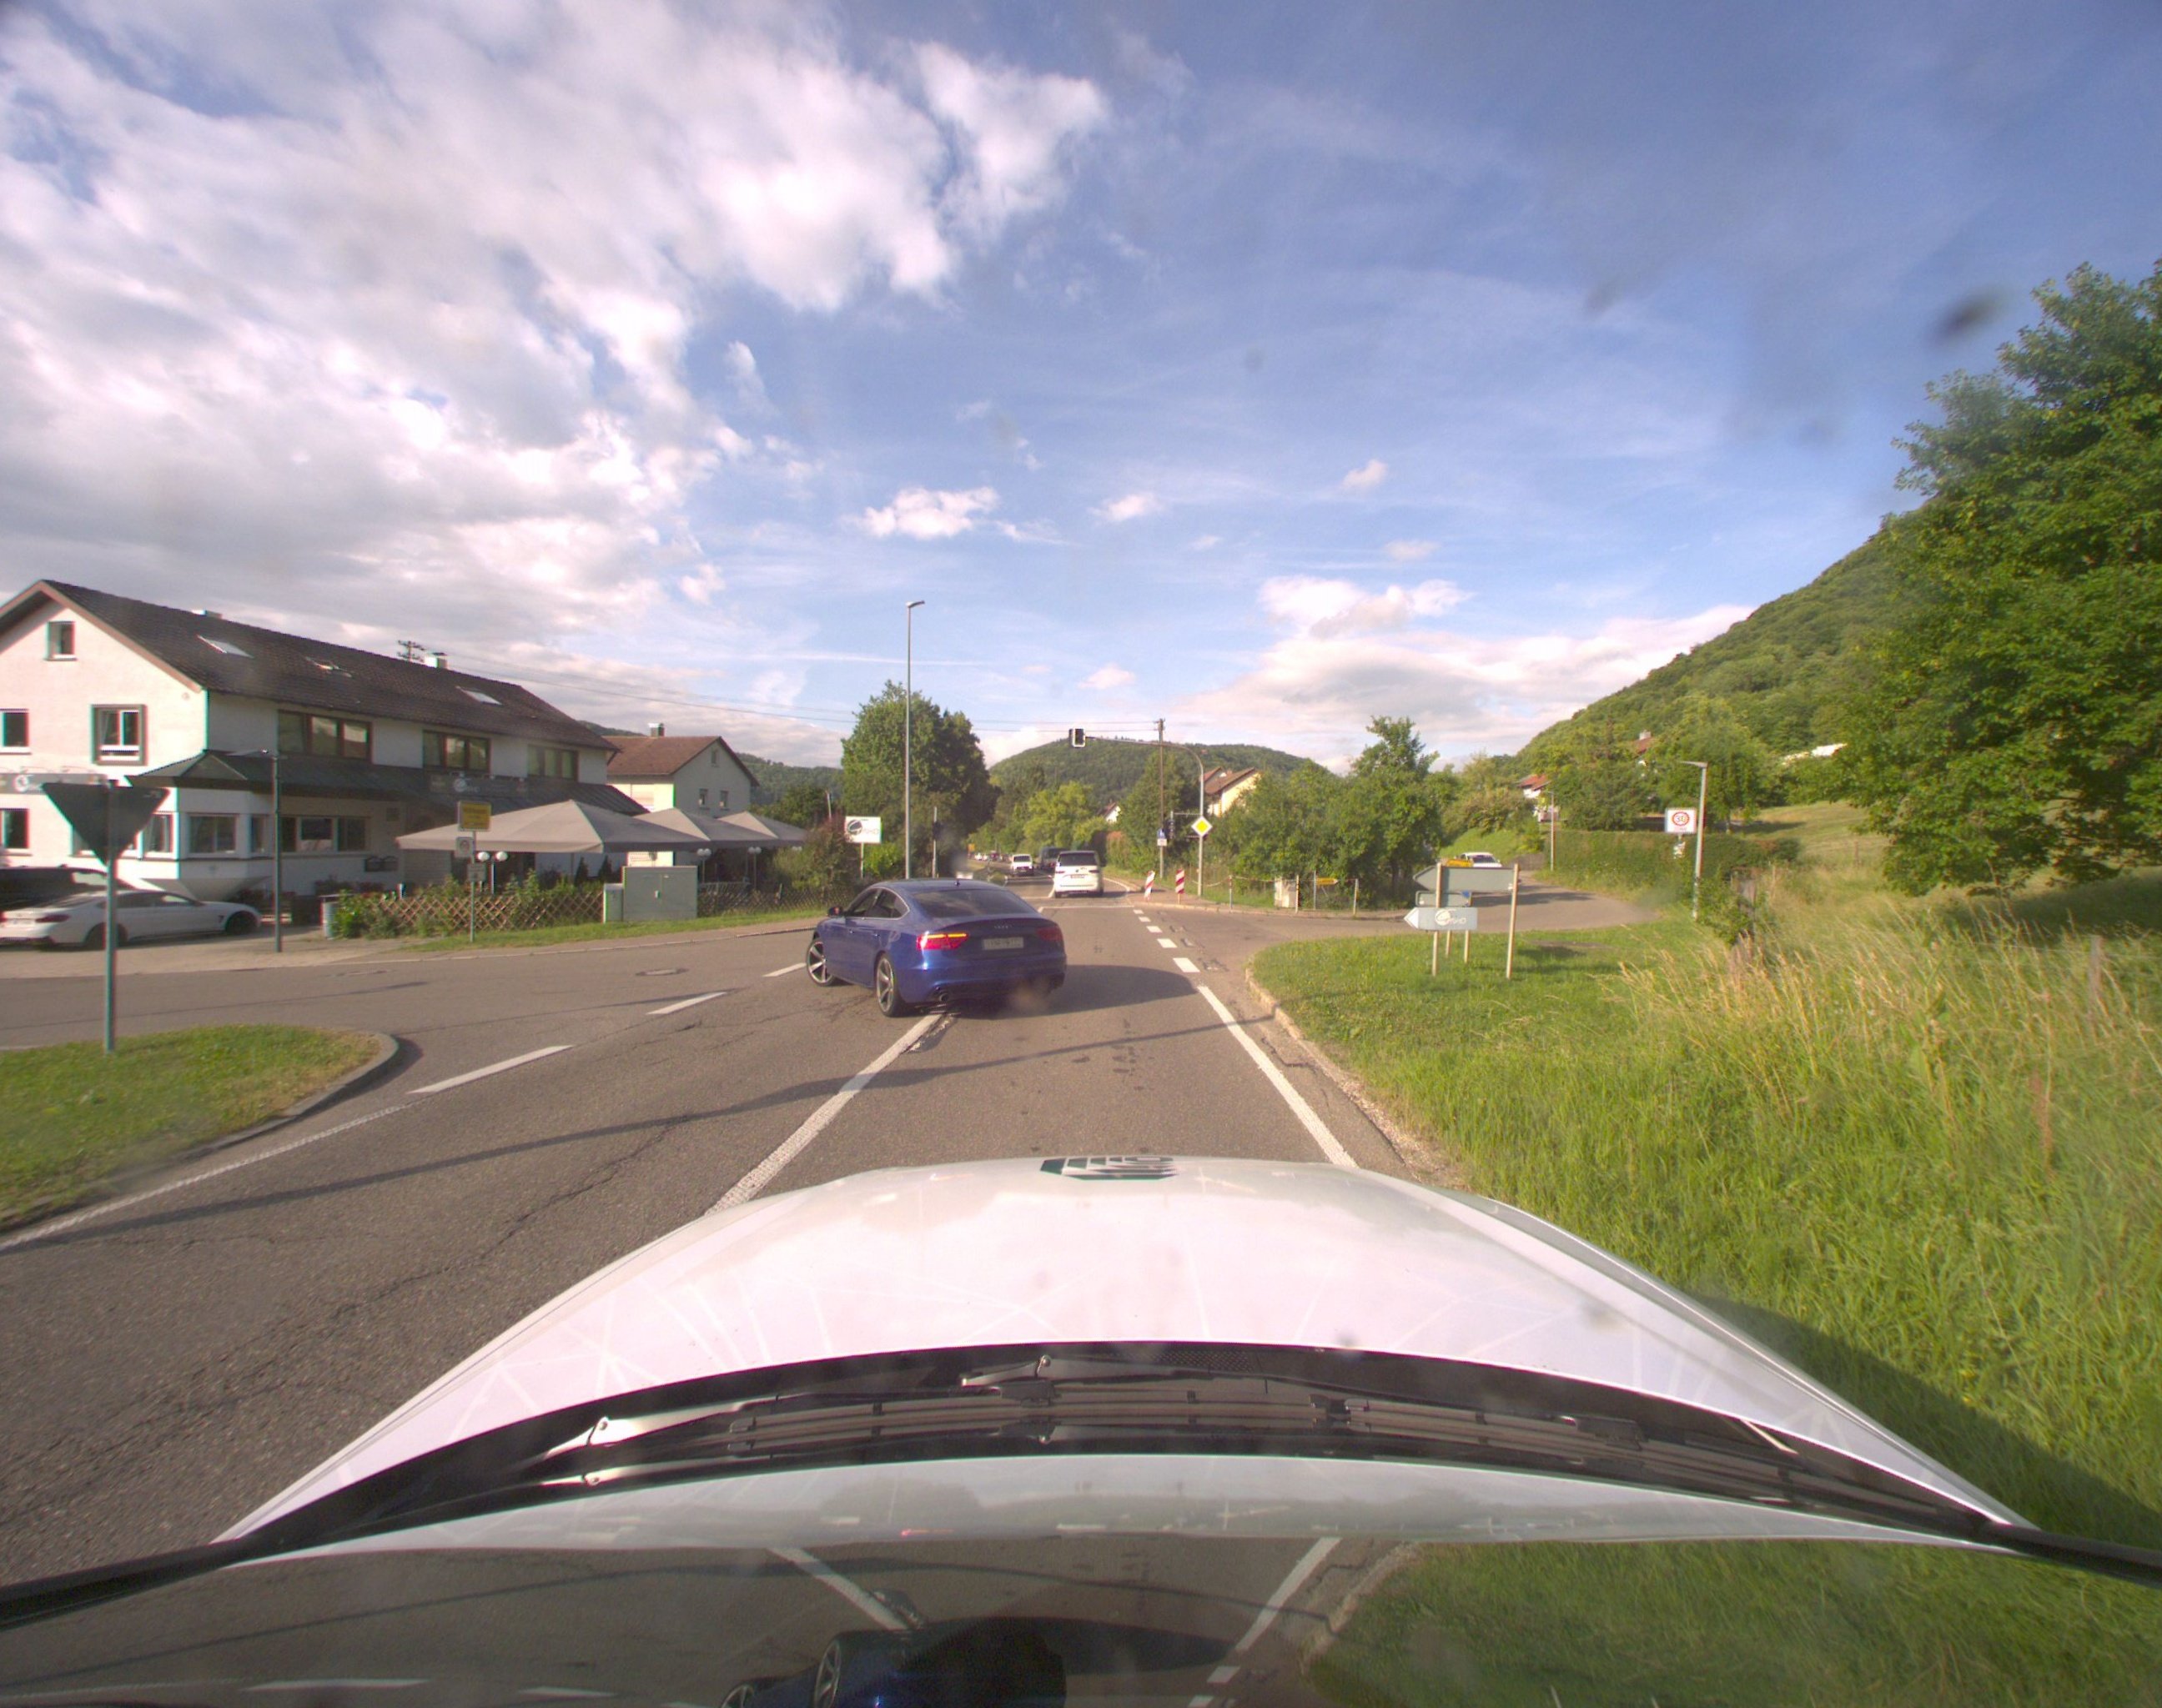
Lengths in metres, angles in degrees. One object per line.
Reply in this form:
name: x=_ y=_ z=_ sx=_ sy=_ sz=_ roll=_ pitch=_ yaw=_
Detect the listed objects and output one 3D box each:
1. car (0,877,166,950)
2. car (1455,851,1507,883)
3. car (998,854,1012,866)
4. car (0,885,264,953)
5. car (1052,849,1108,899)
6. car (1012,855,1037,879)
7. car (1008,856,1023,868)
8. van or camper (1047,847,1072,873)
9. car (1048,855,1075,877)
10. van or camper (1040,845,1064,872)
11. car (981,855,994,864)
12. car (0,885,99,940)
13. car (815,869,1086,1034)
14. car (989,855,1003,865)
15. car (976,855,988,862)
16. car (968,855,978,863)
car: x=-27.210 y=1.526 z=20.923 sx=1.984 sy=1.685 sz=4.583 roll=-2 pitch=0 yaw=5
car: x=21.381 y=0.637 z=43.662 sx=1.853 sy=1.610 sz=4.593 roll=0 pitch=1 yaw=17
car: x=-12.976 y=0.946 z=139.394 sx=1.995 sy=2.013 sz=3.984 roll=-1 pitch=0 yaw=-12
car: x=-24.522 y=1.593 z=21.035 sx=1.984 sy=1.389 sz=4.583 roll=-2 pitch=0 yaw=5
car: x=0.047 y=0.770 z=34.396 sx=1.985 sy=1.876 sz=4.876 roll=1 pitch=1 yaw=4
car: x=-4.862 y=1.078 z=70.107 sx=1.990 sy=1.904 sz=5.244 roll=-2 pitch=0 yaw=-5
car: x=-10.380 y=1.207 z=129.433 sx=1.799 sy=1.793 sz=3.982 roll=0 pitch=1 yaw=-14
van or camper: x=-2.109 y=0.540 z=78.689 sx=2.175 sy=2.385 sz=5.362 roll=-1 pitch=0 yaw=-4
car: x=-1.600 y=0.930 z=66.073 sx=1.989 sy=1.684 sz=3.995 roll=-1 pitch=0 yaw=-4
van or camper: x=-3.390 y=0.463 z=92.986 sx=2.411 sy=2.904 sz=6.120 roll=-1 pitch=0 yaw=-5
car: x=-17.965 y=1.087 z=156.631 sx=1.944 sy=1.684 sz=3.982 roll=-2 pitch=0 yaw=-13
car: x=-30.266 y=1.653 z=21.884 sx=1.984 sy=1.389 sz=4.583 roll=-2 pitch=0 yaw=5
car: x=-1.767 y=0.921 z=9.568 sx=1.841 sy=1.409 sz=4.187 roll=-2 pitch=0 yaw=-29
car: x=-15.431 y=1.049 z=148.039 sx=2.043 sy=1.684 sz=3.982 roll=0 pitch=0 yaw=-13
car: x=-20.086 y=0.976 z=165.352 sx=1.944 sy=1.424 sz=3.982 roll=-1 pitch=0 yaw=-13
car: x=-23.766 y=1.044 z=178.369 sx=1.774 sy=1.783 sz=3.982 roll=-1 pitch=0 yaw=-13
